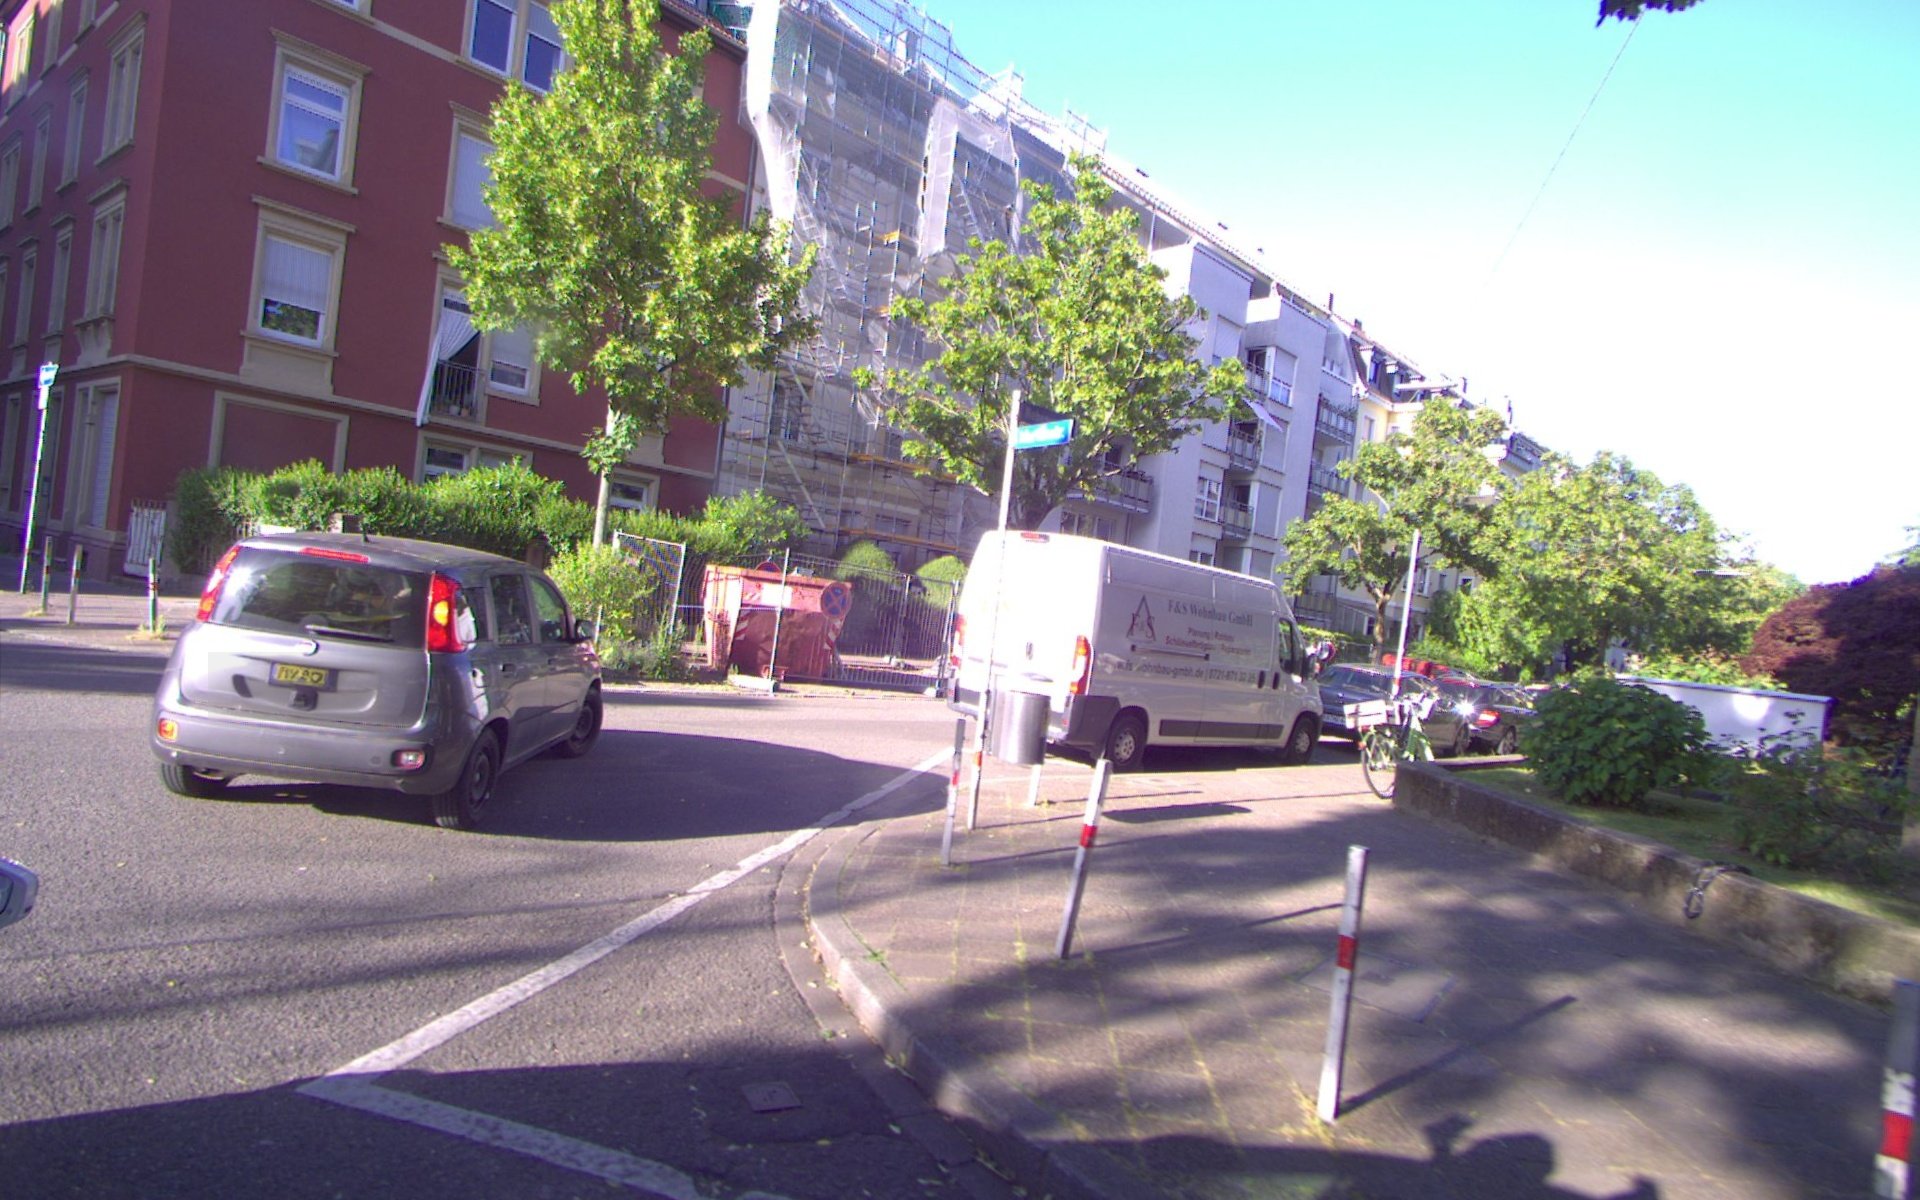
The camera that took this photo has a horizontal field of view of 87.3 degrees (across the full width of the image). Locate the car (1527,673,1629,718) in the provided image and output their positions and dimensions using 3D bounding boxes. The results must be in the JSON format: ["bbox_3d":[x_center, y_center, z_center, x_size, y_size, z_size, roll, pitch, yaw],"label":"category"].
[{"bbox_3d":[30.655,4.716,49.943,3.947,1.683,1.717,6,0,44],"label":"car"}]

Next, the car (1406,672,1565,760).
[{"bbox_3d":[11.030,2.392,20.986,1.766,1.440,4.196,6,-1,43],"label":"car"}]

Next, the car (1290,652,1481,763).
[{"bbox_3d":[7.343,1.824,17.178,1.703,1.482,3.866,7,0,42],"label":"car"}]

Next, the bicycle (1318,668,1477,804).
[{"bbox_3d":[4.791,1.482,10.964,1.853,1.306,0.632,7,0,-36],"label":"bicycle"}]

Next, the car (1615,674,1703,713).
[{"bbox_3d":[40.899,5.453,58.898,3.946,1.683,1.718,6,0,43],"label":"car"}]

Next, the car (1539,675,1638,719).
[{"bbox_3d":[32.604,5.010,52.232,3.947,1.683,1.717,6,0,44],"label":"car"}]

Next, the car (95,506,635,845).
[{"bbox_3d":[-3.487,0.388,6.725,1.610,1.501,3.529,7,0,-5],"label":"car"}]

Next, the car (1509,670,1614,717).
[{"bbox_3d":[28.853,4.472,48.307,3.947,1.683,1.717,6,0,44],"label":"car"}]

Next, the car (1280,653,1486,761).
[{"bbox_3d":[7.373,1.848,17.356,3.975,1.456,1.767,7,0,-44],"label":"car"}]

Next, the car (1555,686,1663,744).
[{"bbox_3d":[18.622,3.277,28.779,1.766,1.315,4.196,6,-1,43],"label":"car"}]

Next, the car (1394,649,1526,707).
[{"bbox_3d":[19.551,3.028,39.433,4.128,1.666,1.990,6,-2,44],"label":"car"}]

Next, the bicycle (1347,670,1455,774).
[{"bbox_3d":[6.140,1.701,13.953,1.855,1.306,0.468,7,0,-39],"label":"bicycle"}]

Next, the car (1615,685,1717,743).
[{"bbox_3d":[22.765,3.691,32.377,4.192,1.526,1.768,7,0,-43],"label":"car"}]

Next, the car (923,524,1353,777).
[{"bbox_3d":[2.497,0.690,12.795,5.627,2.498,2.277,7,0,-43],"label":"car"}]

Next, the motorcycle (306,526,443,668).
[{"bbox_3d":[-7.658,-0.076,13.080,0.869,1.544,2.590,6,2,-43],"label":"motorcycle"}]

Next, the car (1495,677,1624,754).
[{"bbox_3d":[14.909,2.852,24.904,1.766,1.526,4.196,6,0,43],"label":"car"}]

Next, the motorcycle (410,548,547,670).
[{"bbox_3d":[-6.668,0.086,13.843,0.866,1.422,2.511,6,1,-43],"label":"motorcycle"}]
